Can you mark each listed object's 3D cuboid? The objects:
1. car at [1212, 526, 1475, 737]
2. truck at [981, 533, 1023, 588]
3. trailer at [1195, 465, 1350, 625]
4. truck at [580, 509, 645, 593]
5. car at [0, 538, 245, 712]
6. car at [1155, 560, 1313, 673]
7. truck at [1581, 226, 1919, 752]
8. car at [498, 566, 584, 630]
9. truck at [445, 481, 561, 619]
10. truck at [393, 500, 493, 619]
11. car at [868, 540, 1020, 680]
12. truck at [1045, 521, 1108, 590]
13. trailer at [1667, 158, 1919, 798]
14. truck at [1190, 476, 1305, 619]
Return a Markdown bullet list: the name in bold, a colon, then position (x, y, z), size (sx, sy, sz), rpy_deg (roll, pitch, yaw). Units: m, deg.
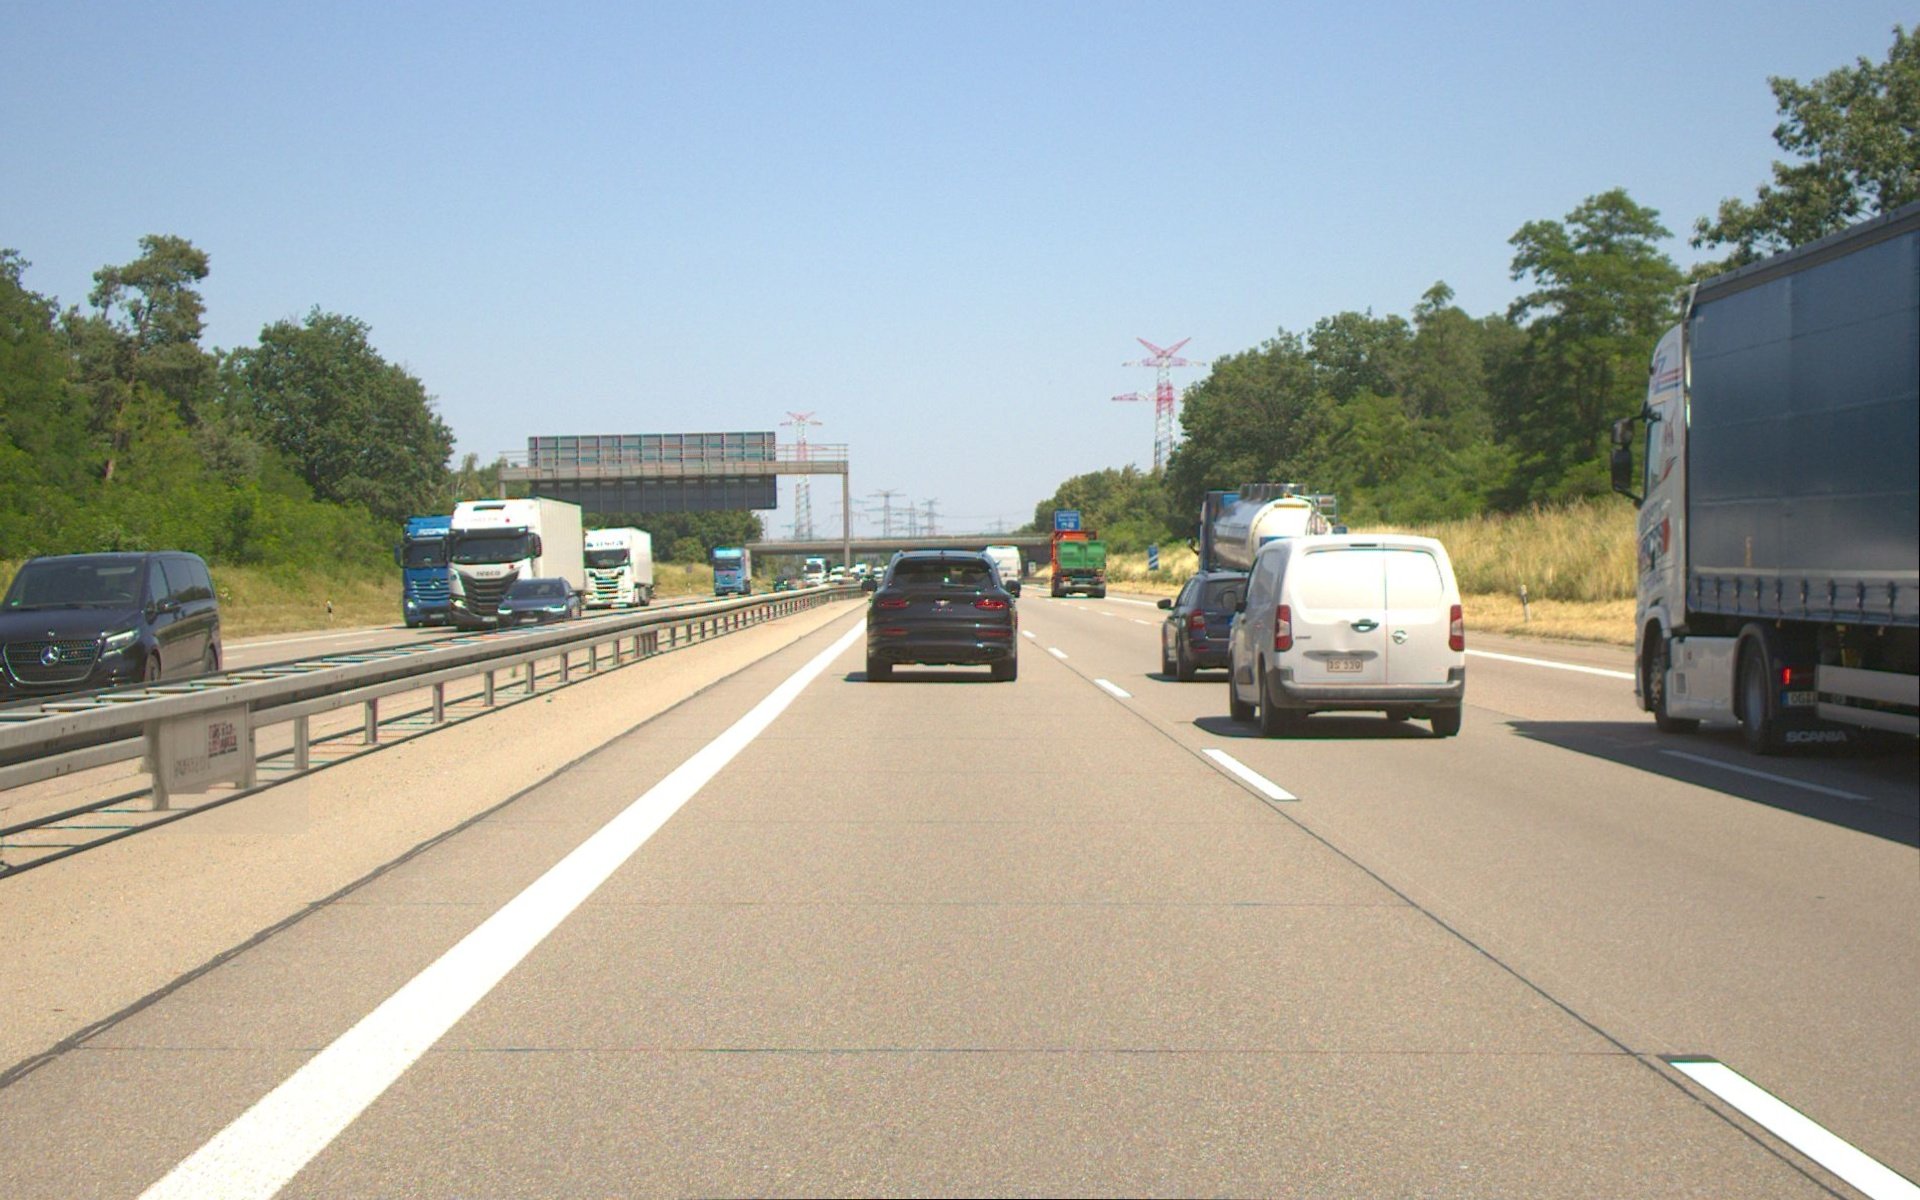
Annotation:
- **car**: position (3.520, 0.249, 32.428), size (1.814, 1.821, 5.111), rpy_deg (0, 1, -1)
- **truck**: position (2.272, -2.156, 187.583), size (2.060, 2.904, 7.003), rpy_deg (0, 1, -1)
- **trailer**: position (8.008, -1.393, 89.457), size (2.682, 3.824, 12.011), rpy_deg (1, 1, -1)
- **truck**: position (-18.176, -2.566, 179.973), size (2.702, 4.172, 6.189), rpy_deg (-2, 1, -1)
- **car**: position (-9.975, 0.238, 40.557), size (1.876, 1.841, 5.834), rpy_deg (-2, 1, -1)
- **car**: position (3.676, 0.194, 46.670), size (1.774, 1.467, 3.873), rpy_deg (0, 1, -1)
- **truck**: position (7.801, -0.903, 30.661), size (3.286, 4.205, 6.008), rpy_deg (1, 0, -1)
- **car**: position (-10.472, -0.083, 86.071), size (1.617, 1.477, 4.625), rpy_deg (-2, 1, -1)
- **truck**: position (-13.920, -1.523, 105.095), size (2.668, 3.976, 6.342), rpy_deg (-2, 1, -1)
- **truck**: position (-18.803, -1.486, 125.431), size (2.668, 4.155, 6.189), rpy_deg (-2, 1, -1)
- **car**: position (-0.275, 0.080, 47.069), size (1.940, 1.746, 5.814), rpy_deg (0, 1, -1)
- **truck**: position (6.471, -2.479, 192.127), size (2.989, 3.716, 10.090), rpy_deg (1, 1, -1)
- **trailer**: position (7.936, -0.790, 23.100), size (3.286, 4.205, 13.566), rpy_deg (1, 1, -1)
- **truck**: position (7.918, -1.435, 95.202), size (2.682, 3.824, 4.444), rpy_deg (1, 0, -1)
